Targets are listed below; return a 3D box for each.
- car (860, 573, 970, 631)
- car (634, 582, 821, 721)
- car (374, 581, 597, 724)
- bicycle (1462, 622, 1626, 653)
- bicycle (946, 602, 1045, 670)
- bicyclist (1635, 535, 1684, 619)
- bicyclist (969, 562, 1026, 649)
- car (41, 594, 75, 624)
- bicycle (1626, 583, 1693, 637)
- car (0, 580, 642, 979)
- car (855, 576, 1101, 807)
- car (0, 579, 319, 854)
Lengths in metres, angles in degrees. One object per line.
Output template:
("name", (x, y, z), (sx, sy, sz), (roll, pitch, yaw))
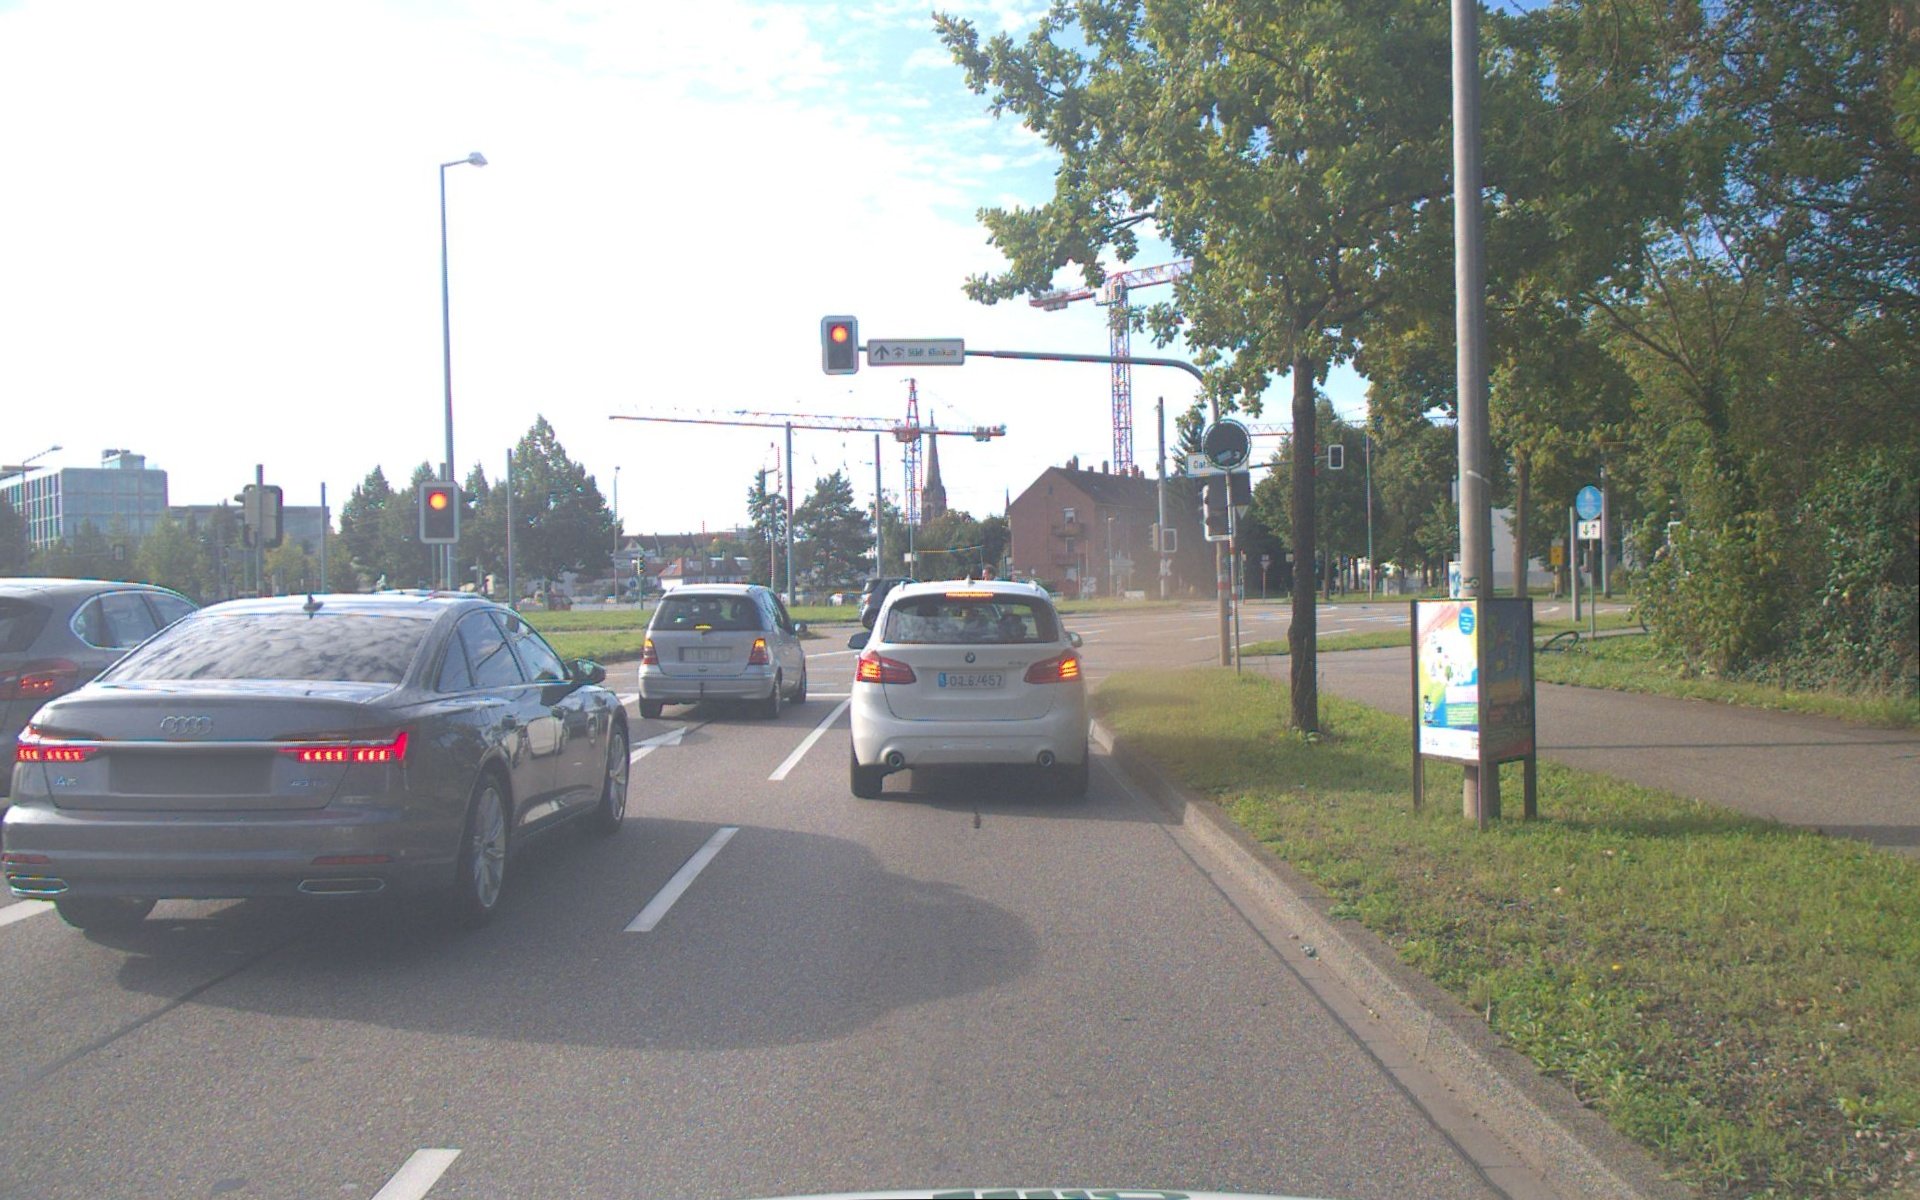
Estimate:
("car", (-1.355, 0.039, 49.128), (3.127, 1.601, 1.573), (-1, 2, -7))
("car", (-2.819, 0.571, 20.850), (1.693, 1.585, 4.059), (0, 0, 1))
("car", (-5.783, 0.571, 20.621), (1.686, 1.592, 3.877), (0, 1, 0))
("bicycle", (9.446, 0.596, 26.904), (1.382, 0.392, 2.569), (-2, 0, -12))
("bicycle", (0.651, 0.649, 30.380), (1.698, 1.184, 0.653), (-1, 0, -17))
("bicyclist", (14.194, -0.462, 33.554), (0.674, 1.676, 0.827), (-1, -1, 43))
("bicyclist", (0.688, 0.093, 30.392), (0.835, 1.553, 0.737), (-2, 0, -17))
("car", (-52.002, 0.528, 95.387), (1.574, 1.439, 3.636), (-4, -1, -28))
("bicycle", (14.188, 0.190, 33.515), (0.698, 1.068, 1.765), (-1, 0, 42))
("car", (-2.993, 0.684, 8.605), (1.851, 1.509, 4.612), (0, 0, -1))
("car", (0.091, 0.613, 13.418), (1.694, 1.585, 4.057), (0, 0, -1))
("car", (-6.086, 0.666, 11.523), (1.694, 1.585, 4.018), (0, 0, -1))
